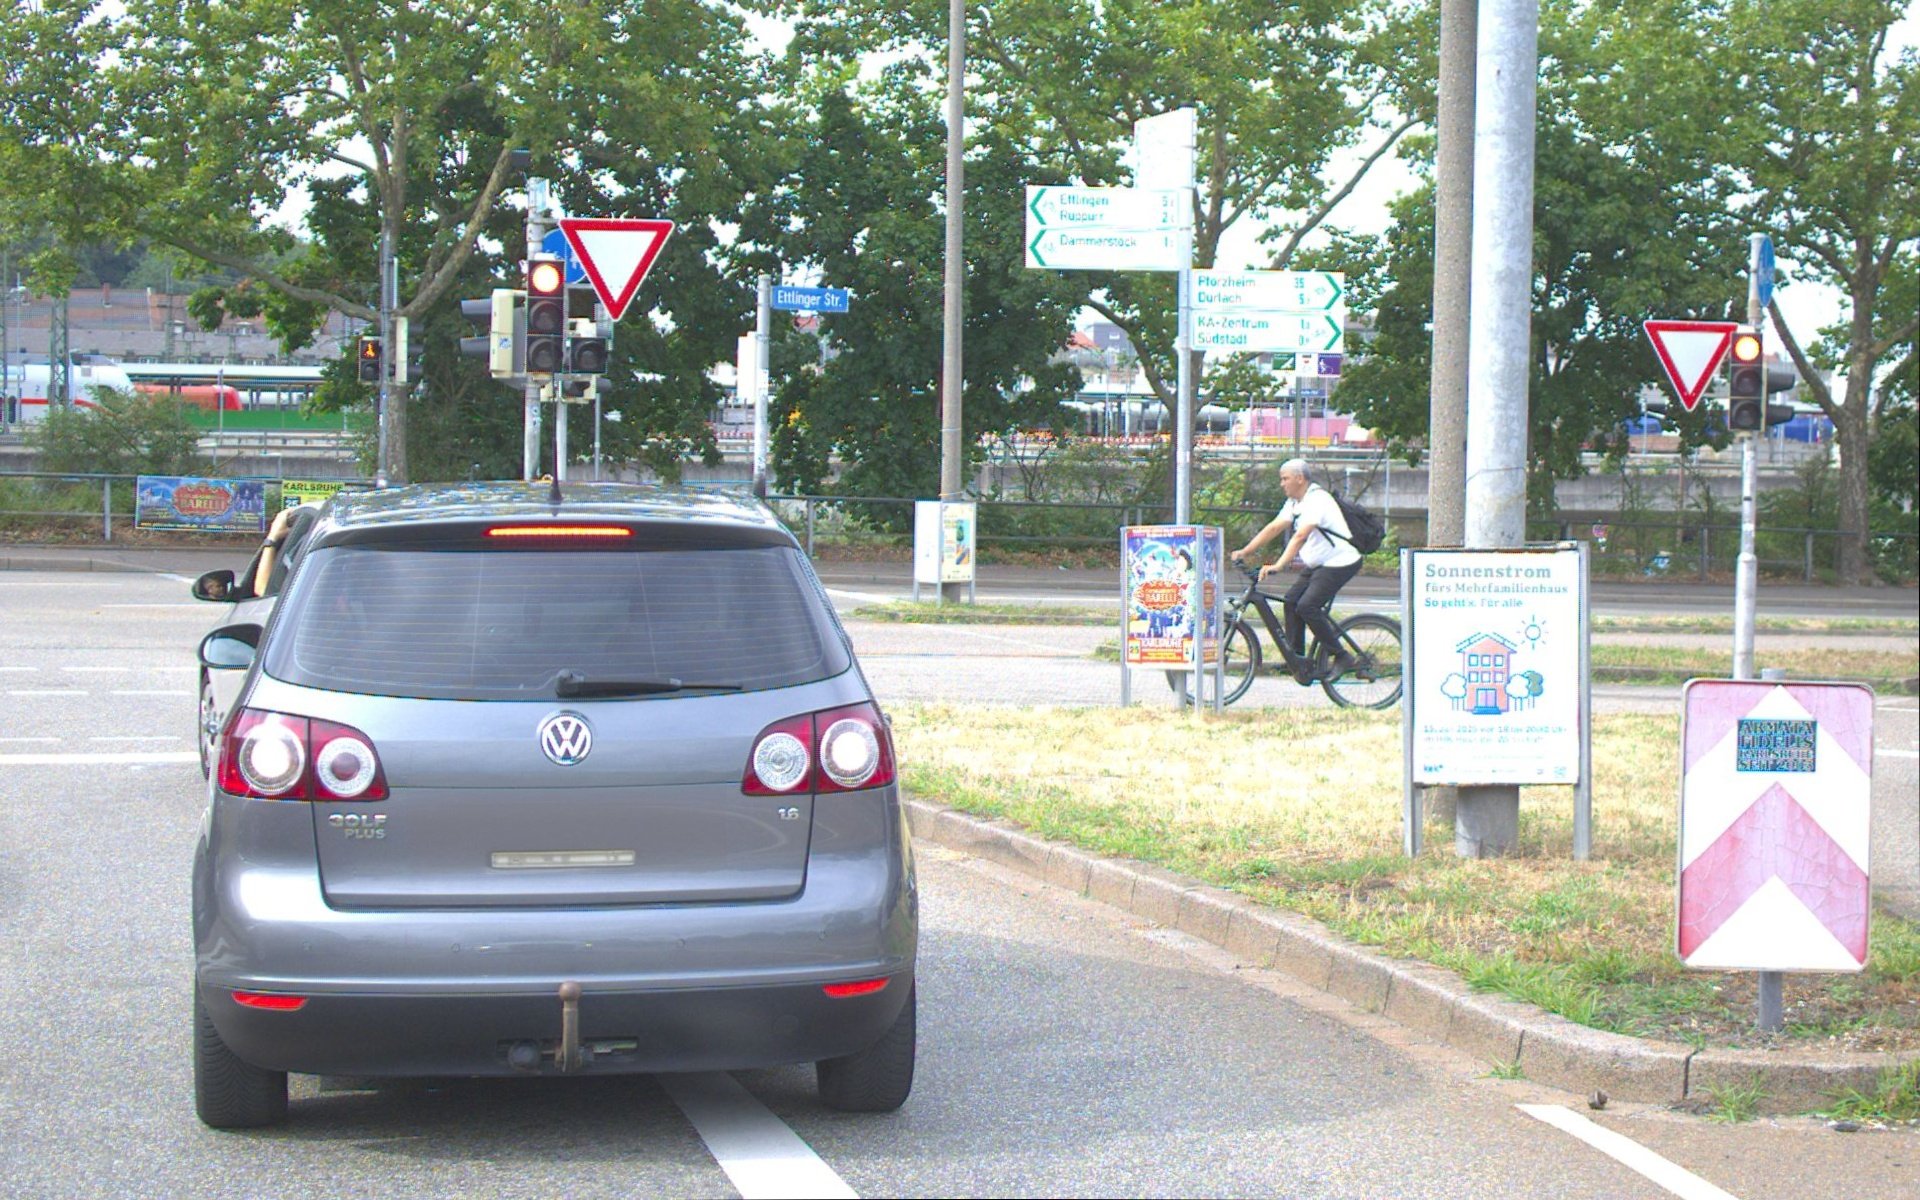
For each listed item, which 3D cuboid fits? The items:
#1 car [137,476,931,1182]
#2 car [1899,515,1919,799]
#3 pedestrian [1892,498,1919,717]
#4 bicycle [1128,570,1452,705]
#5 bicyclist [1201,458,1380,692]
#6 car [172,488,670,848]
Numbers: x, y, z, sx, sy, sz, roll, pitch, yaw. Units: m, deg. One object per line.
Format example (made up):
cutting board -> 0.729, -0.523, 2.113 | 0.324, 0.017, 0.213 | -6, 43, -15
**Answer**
car -> -1.279, 0.446, 9.647 | 1.740, 1.541, 4.083 | 0, 2, -10
car -> 6.033, 0.371, 17.961 | 1.691, 1.580, 4.155 | 3, 1, 10
pedestrian -> 7.949, 0.064, 27.193 | 1.048, 1.704, 0.853 | 2, 2, 16
bicycle -> 2.419, 0.274, 25.308 | 2.227, 0.949, 0.812 | 0, 2, -9
bicyclist -> 2.422, -0.191, 25.296 | 1.112, 1.690, 0.813 | 0, 2, -10
car -> -2.683, 0.221, 16.328 | 1.740, 1.477, 4.083 | 0, 2, -17
